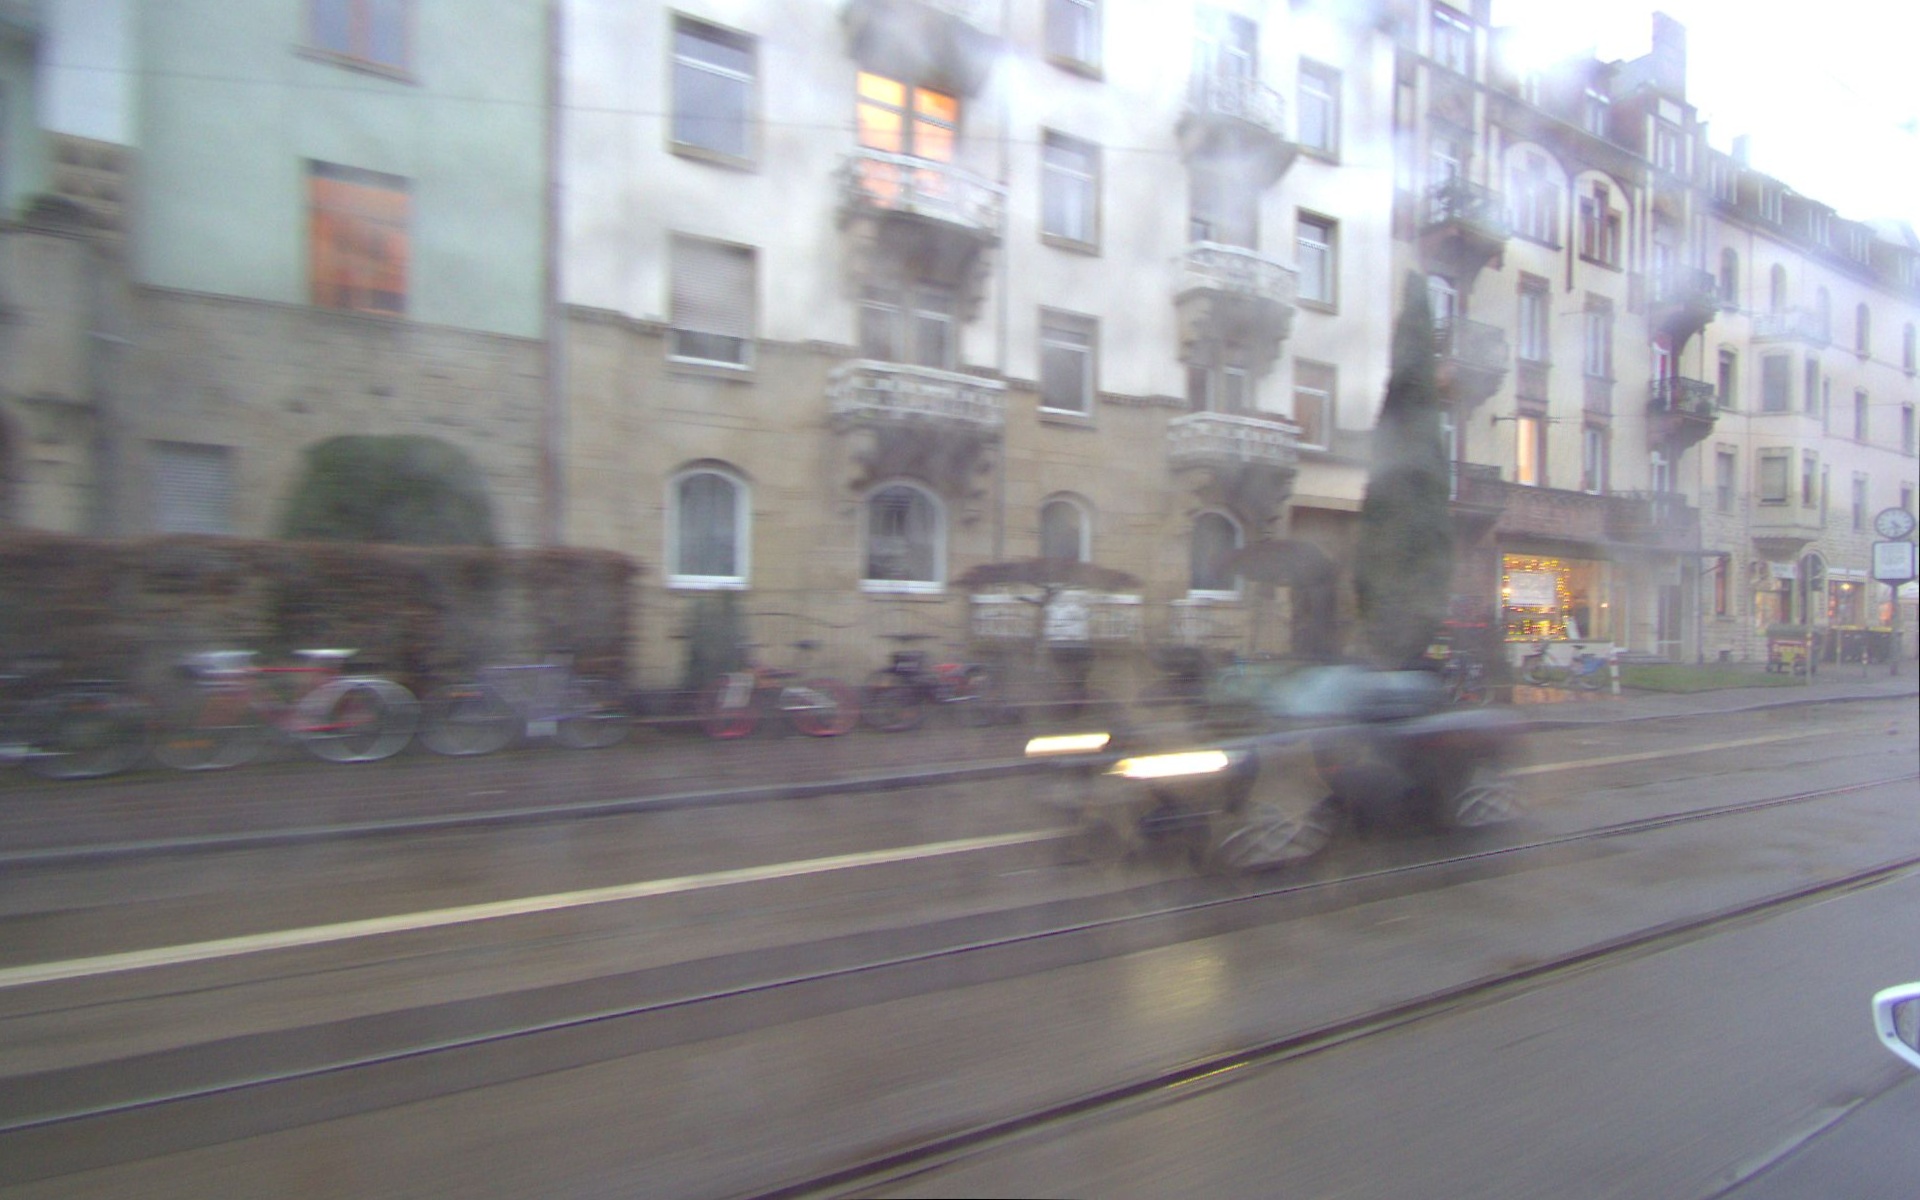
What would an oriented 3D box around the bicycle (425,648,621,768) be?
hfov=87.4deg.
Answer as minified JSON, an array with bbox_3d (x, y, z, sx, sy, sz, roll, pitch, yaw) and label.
[{"bbox_3d":[-4.195,1.007,9.697,1.583,1.044,0.686,3,-3,-40],"label":"bicycle"}]

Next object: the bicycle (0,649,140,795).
[{"bbox_3d":[-7.291,0.898,7.548,1.577,1.044,0.689,5,-4,-30],"label":"bicycle"}]

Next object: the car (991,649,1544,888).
[{"bbox_3d":[2.262,0.985,7.093,3.832,1.214,1.651,1,-2,-32],"label":"car"}]

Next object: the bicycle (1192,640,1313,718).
[{"bbox_3d":[4.182,1.104,14.327,1.785,1.031,0.622,1,-2,-32],"label":"bicycle"}]

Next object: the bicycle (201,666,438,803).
[{"bbox_3d":[-5.445,1.134,8.607,1.581,1.044,0.687,6,-4,-35],"label":"bicycle"}]

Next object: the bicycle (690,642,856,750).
[{"bbox_3d":[-1.958,0.974,10.619,1.583,1.044,0.686,2,-2,-40],"label":"bicycle"}]

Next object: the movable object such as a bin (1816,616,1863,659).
[{"bbox_3d":[33.525,1.411,38.294,1.067,1.622,1.010,0,-1,-28],"label":"movable object such as a bin"}]

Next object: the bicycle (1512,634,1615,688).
[{"bbox_3d":[12.928,1.288,21.562,0.610,1.095,1.792,0,-1,-36],"label":"bicycle"}]

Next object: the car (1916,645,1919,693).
[{"bbox_3d":[31.449,2.099,30.973,3.953,1.466,1.825,0,-1,-30],"label":"car"}]

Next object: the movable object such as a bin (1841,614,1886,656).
[{"bbox_3d":[35.564,1.368,39.550,1.067,1.622,1.010,0,-1,-28],"label":"movable object such as a bin"}]

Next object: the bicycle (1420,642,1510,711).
[{"bbox_3d":[8.695,1.296,17.285,1.792,1.095,0.610,0,-1,-35],"label":"bicycle"}]

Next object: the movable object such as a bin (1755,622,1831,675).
[{"bbox_3d":[25.371,1.451,30.609,1.348,1.551,1.402,0,-1,-30],"label":"movable object such as a bin"}]

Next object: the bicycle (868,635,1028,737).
[{"bbox_3d":[-0.115,0.974,11.783,1.909,1.114,0.484,1,-2,-32],"label":"bicycle"}]

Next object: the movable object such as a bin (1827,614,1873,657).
[{"bbox_3d":[34.523,1.361,38.959,1.140,1.622,1.010,0,-1,-28],"label":"movable object such as a bin"}]

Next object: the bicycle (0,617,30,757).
[{"bbox_3d":[-8.814,0.777,8.746,0.483,1.279,1.585,6,-4,-25],"label":"bicycle"}]
